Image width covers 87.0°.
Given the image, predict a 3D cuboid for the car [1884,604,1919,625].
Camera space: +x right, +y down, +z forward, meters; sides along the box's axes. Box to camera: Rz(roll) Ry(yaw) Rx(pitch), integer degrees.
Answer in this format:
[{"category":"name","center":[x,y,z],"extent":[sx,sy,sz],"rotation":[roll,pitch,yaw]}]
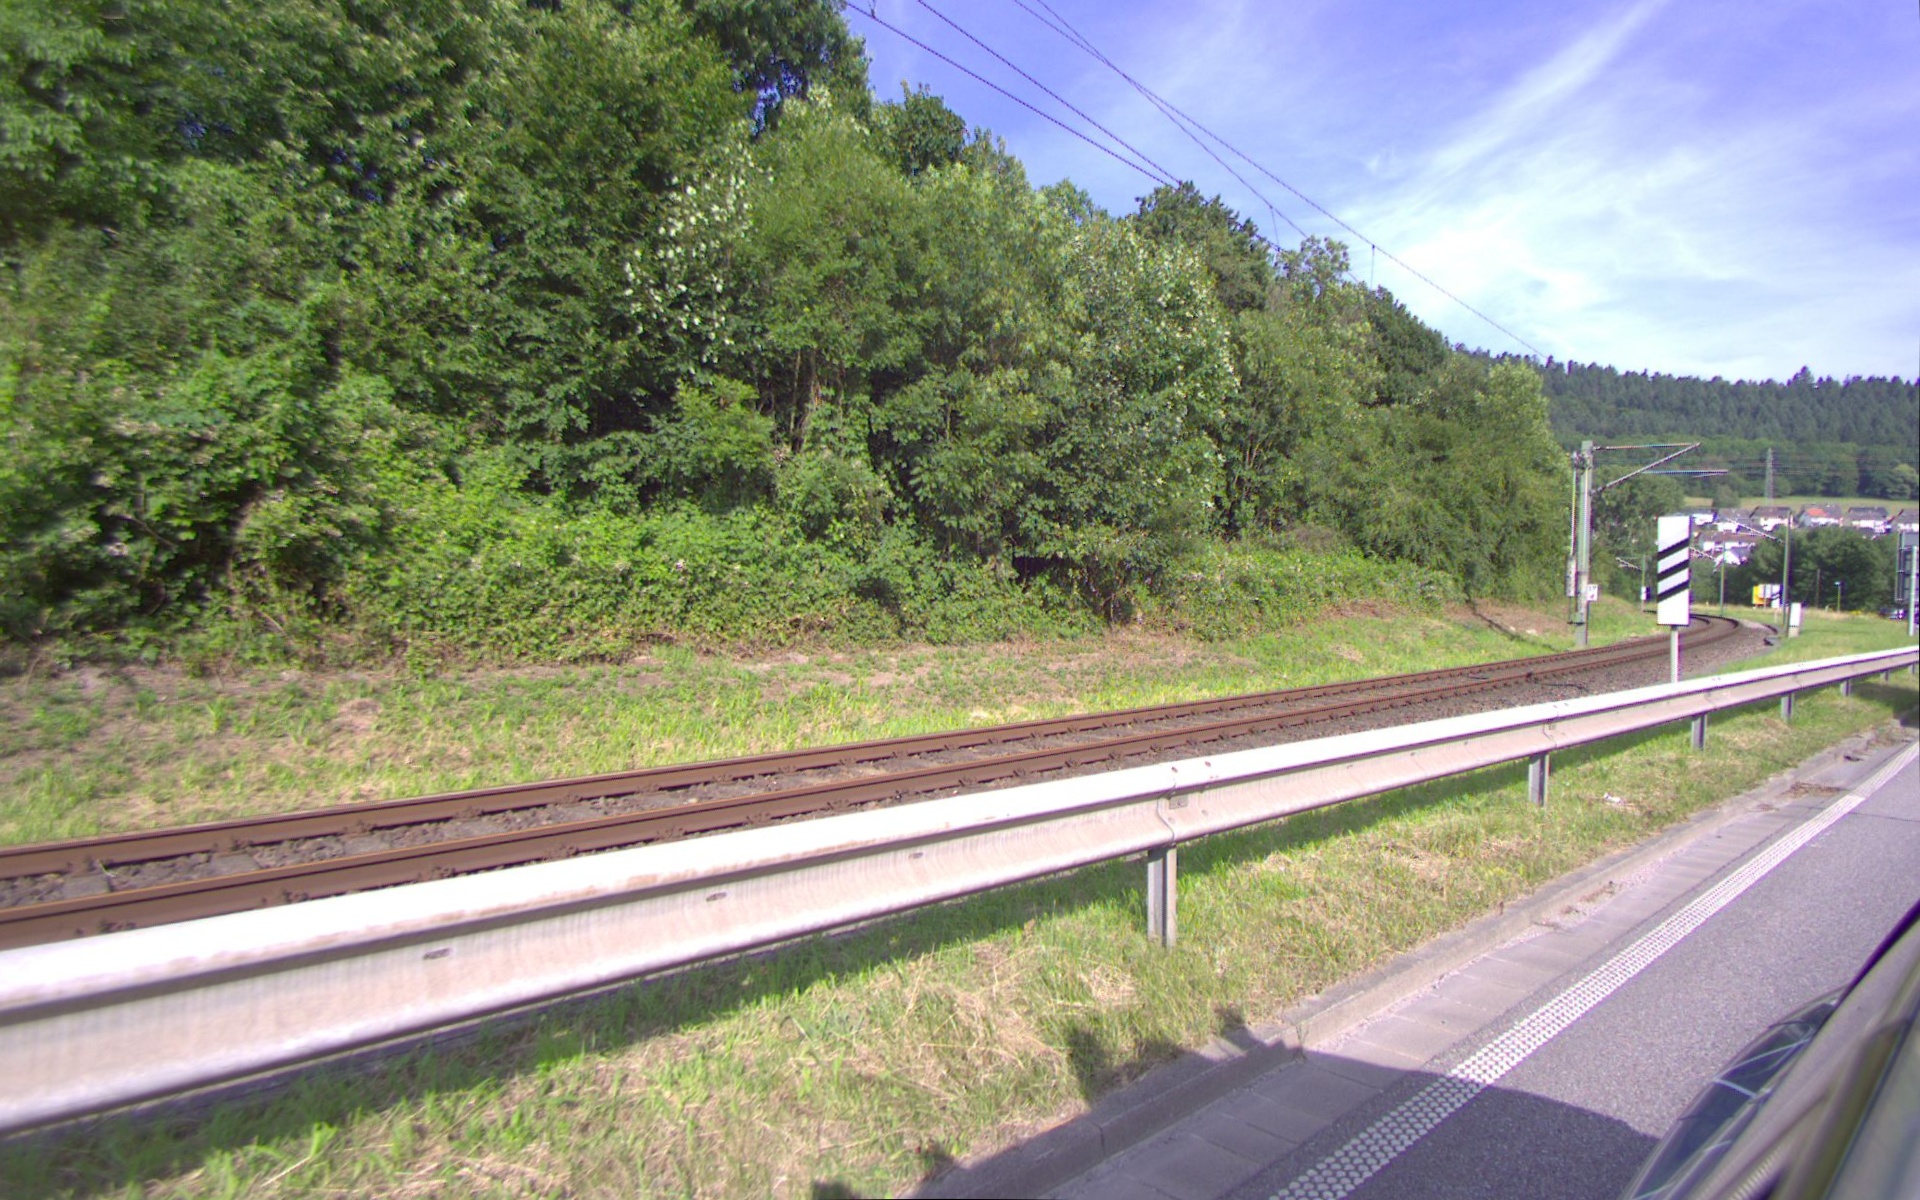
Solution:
[{"category":"car","center":[96.576,1.448,103.741],"extent":[1.985,2.039,3.954],"rotation":[0,0,32]}]
